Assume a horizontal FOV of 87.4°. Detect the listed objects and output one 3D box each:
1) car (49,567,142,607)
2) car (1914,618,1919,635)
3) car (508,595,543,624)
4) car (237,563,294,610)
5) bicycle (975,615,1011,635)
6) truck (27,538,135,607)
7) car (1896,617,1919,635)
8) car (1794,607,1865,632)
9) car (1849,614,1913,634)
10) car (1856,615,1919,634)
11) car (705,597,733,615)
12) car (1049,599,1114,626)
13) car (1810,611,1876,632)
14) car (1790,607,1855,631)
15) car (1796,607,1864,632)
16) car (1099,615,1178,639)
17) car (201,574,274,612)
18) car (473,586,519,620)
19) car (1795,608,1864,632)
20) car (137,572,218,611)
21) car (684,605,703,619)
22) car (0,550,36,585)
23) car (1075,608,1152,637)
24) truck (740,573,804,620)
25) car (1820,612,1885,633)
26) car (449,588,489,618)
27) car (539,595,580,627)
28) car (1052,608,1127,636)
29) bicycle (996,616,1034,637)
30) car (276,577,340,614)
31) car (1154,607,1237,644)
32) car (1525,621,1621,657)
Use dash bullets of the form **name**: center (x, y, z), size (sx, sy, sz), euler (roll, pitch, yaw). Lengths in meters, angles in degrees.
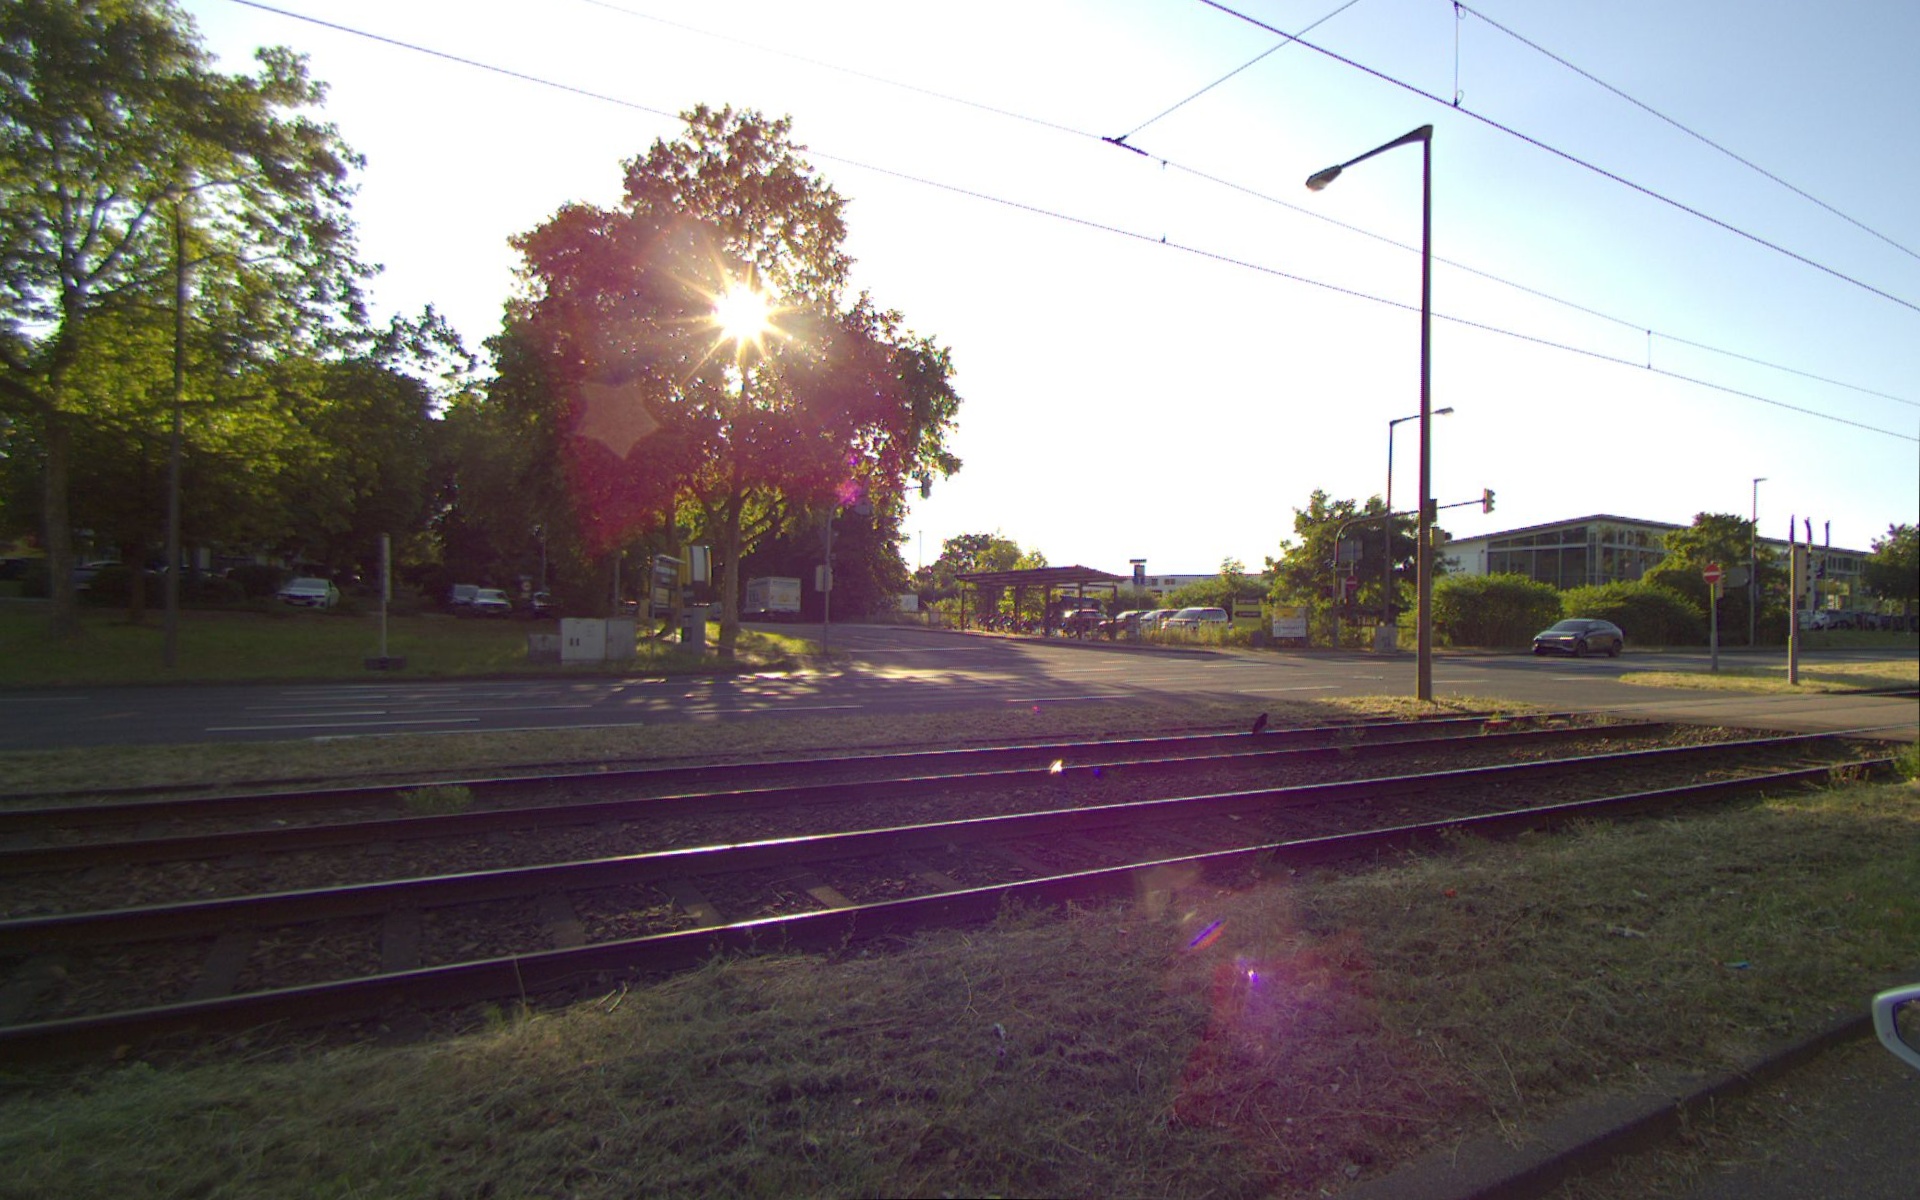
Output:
- **car**: center (-36.083, -0.535, 42.027), size (1.916, 1.530, 4.071), euler (2, 0, -26)
- **car**: center (91.306, 2.511, 93.021), size (1.725, 1.642, 3.962), euler (1, 0, -34)
- **car**: center (-26.213, 0.526, 60.689), size (1.836, 1.637, 4.036), euler (2, 0, -23)
- **car**: center (-37.292, -0.727, 54.014), size (2.138, 2.334, 4.370), euler (2, 0, -31)
- **bicycle**: center (1.933, 1.467, 59.053), size (2.004, 1.119, 0.777), euler (2, 0, -30)
- **truck**: center (-44.508, -1.317, 51.071), size (2.468, 3.209, 6.187), euler (2, 0, -26)
- **car**: center (88.390, 2.395, 91.742), size (1.725, 1.642, 3.962), euler (1, 0, -34)
- **car**: center (65.186, 1.451, 75.371), size (3.940, 1.727, 1.735), euler (1, 0, 40)
- **car**: center (79.621, 2.074, 86.892), size (3.940, 1.577, 1.735), euler (1, 0, 40)
- **car**: center (81.773, 2.162, 88.510), size (1.728, 1.576, 3.957), euler (1, 0, -37)
- **car**: center (-22.782, 0.531, 94.971), size (1.711, 1.603, 4.028), euler (1, 0, -27)
- **car**: center (9.294, 0.953, 76.668), size (4.715, 2.041, 1.853), euler (1, 0, -30)
- **car**: center (71.996, 1.756, 81.944), size (3.940, 1.577, 1.735), euler (1, 0, 40)
- **car**: center (69.332, 1.517, 80.828), size (3.940, 1.840, 1.735), euler (1, 0, 40)
- **car**: center (68.370, 1.500, 78.983), size (3.940, 1.840, 1.735), euler (1, 0, 40)
- **car**: center (9.945, 1.499, 55.871), size (4.123, 1.284, 1.853), euler (1, 0, -30)
- **car**: center (-32.109, -0.300, 44.762), size (1.916, 1.530, 4.071), euler (2, 0, -26)
- **car**: center (-22.930, 0.130, 49.594), size (1.916, 1.530, 4.071), euler (2, 0, -26)
- **car**: center (66.732, 1.501, 77.171), size (3.940, 1.727, 1.735), euler (1, 0, 40)
- **car**: center (-33.951, -0.373, 43.690), size (1.916, 1.530, 4.071), euler (2, 0, -26)
- **car**: center (-33.310, 1.522, 125.462), size (1.887, 1.602, 4.036), euler (2, 0, -21)
- **car**: center (-53.855, -1.854, 56.389), size (2.274, 1.875, 5.220), euler (2, 0, -36)
- **car**: center (8.826, 1.297, 57.802), size (4.123, 1.604, 1.853), euler (1, 0, -30)
- **truck**: center (-15.040, -0.277, 79.794), size (2.782, 3.520, 8.292), euler (1, 0, -27)
- **car**: center (74.216, 1.852, 83.611), size (3.940, 1.577, 1.735), euler (1, 0, 40)
- **car**: center (-28.567, 0.149, 58.500), size (1.836, 1.637, 4.036), euler (2, 0, -23)
- **car**: center (-20.435, 0.542, 51.143), size (1.604, 1.477, 3.878), euler (2, 0, -27)
- **car**: center (7.722, 1.305, 59.997), size (4.123, 1.604, 1.968), euler (1, 0, -30)
- **bicycle**: center (3.075, 1.489, 56.416), size (2.004, 1.119, 0.777), euler (2, 0, -30)
- **car**: center (-29.428, -0.199, 45.444), size (1.916, 1.530, 4.071), euler (2, 0, -26)
- **car**: center (12.367, 1.338, 52.739), size (4.123, 1.846, 1.853), euler (1, 0, -30)
- **car**: center (27.391, 1.712, 44.854), size (4.120, 1.501, 1.854), euler (1, 0, -29)
